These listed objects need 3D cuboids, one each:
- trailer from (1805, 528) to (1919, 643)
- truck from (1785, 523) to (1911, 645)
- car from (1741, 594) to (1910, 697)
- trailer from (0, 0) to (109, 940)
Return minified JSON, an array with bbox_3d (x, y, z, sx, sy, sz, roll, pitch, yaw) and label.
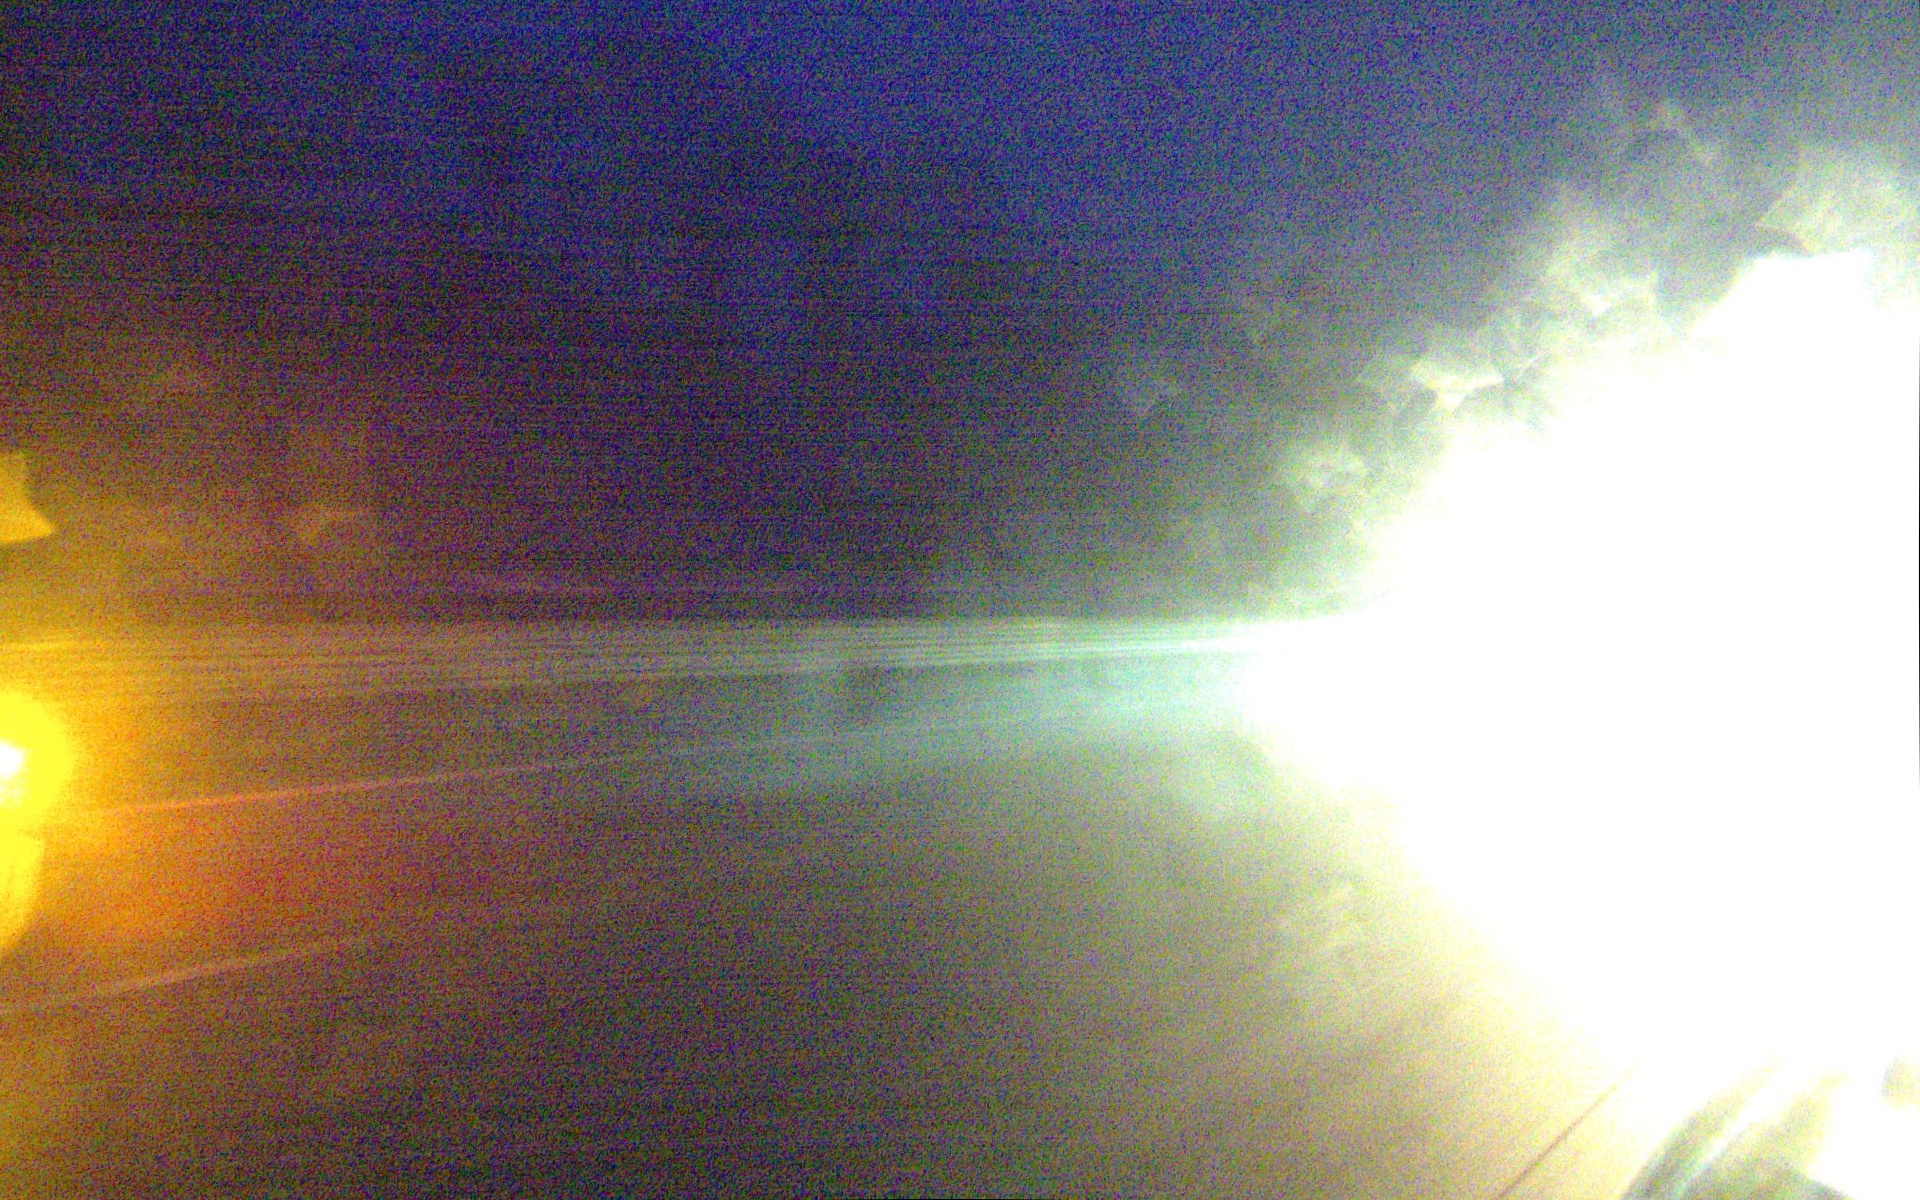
[{"bbox_3d":[38.147,-0.559,42.177,10.983,4.246,2.751,0,0,-41],"label":"trailer"},{"bbox_3d":[33.641,-0.555,38.274,5.911,4.246,2.776,0,0,-41],"label":"truck"},{"bbox_3d":[14.626,0.676,17.051,3.701,1.522,1.618,-1,0,-41],"label":"car"},{"bbox_3d":[-9.421,-0.730,0.789,13.402,4.149,2.870,-1,0,-41],"label":"trailer"}]
